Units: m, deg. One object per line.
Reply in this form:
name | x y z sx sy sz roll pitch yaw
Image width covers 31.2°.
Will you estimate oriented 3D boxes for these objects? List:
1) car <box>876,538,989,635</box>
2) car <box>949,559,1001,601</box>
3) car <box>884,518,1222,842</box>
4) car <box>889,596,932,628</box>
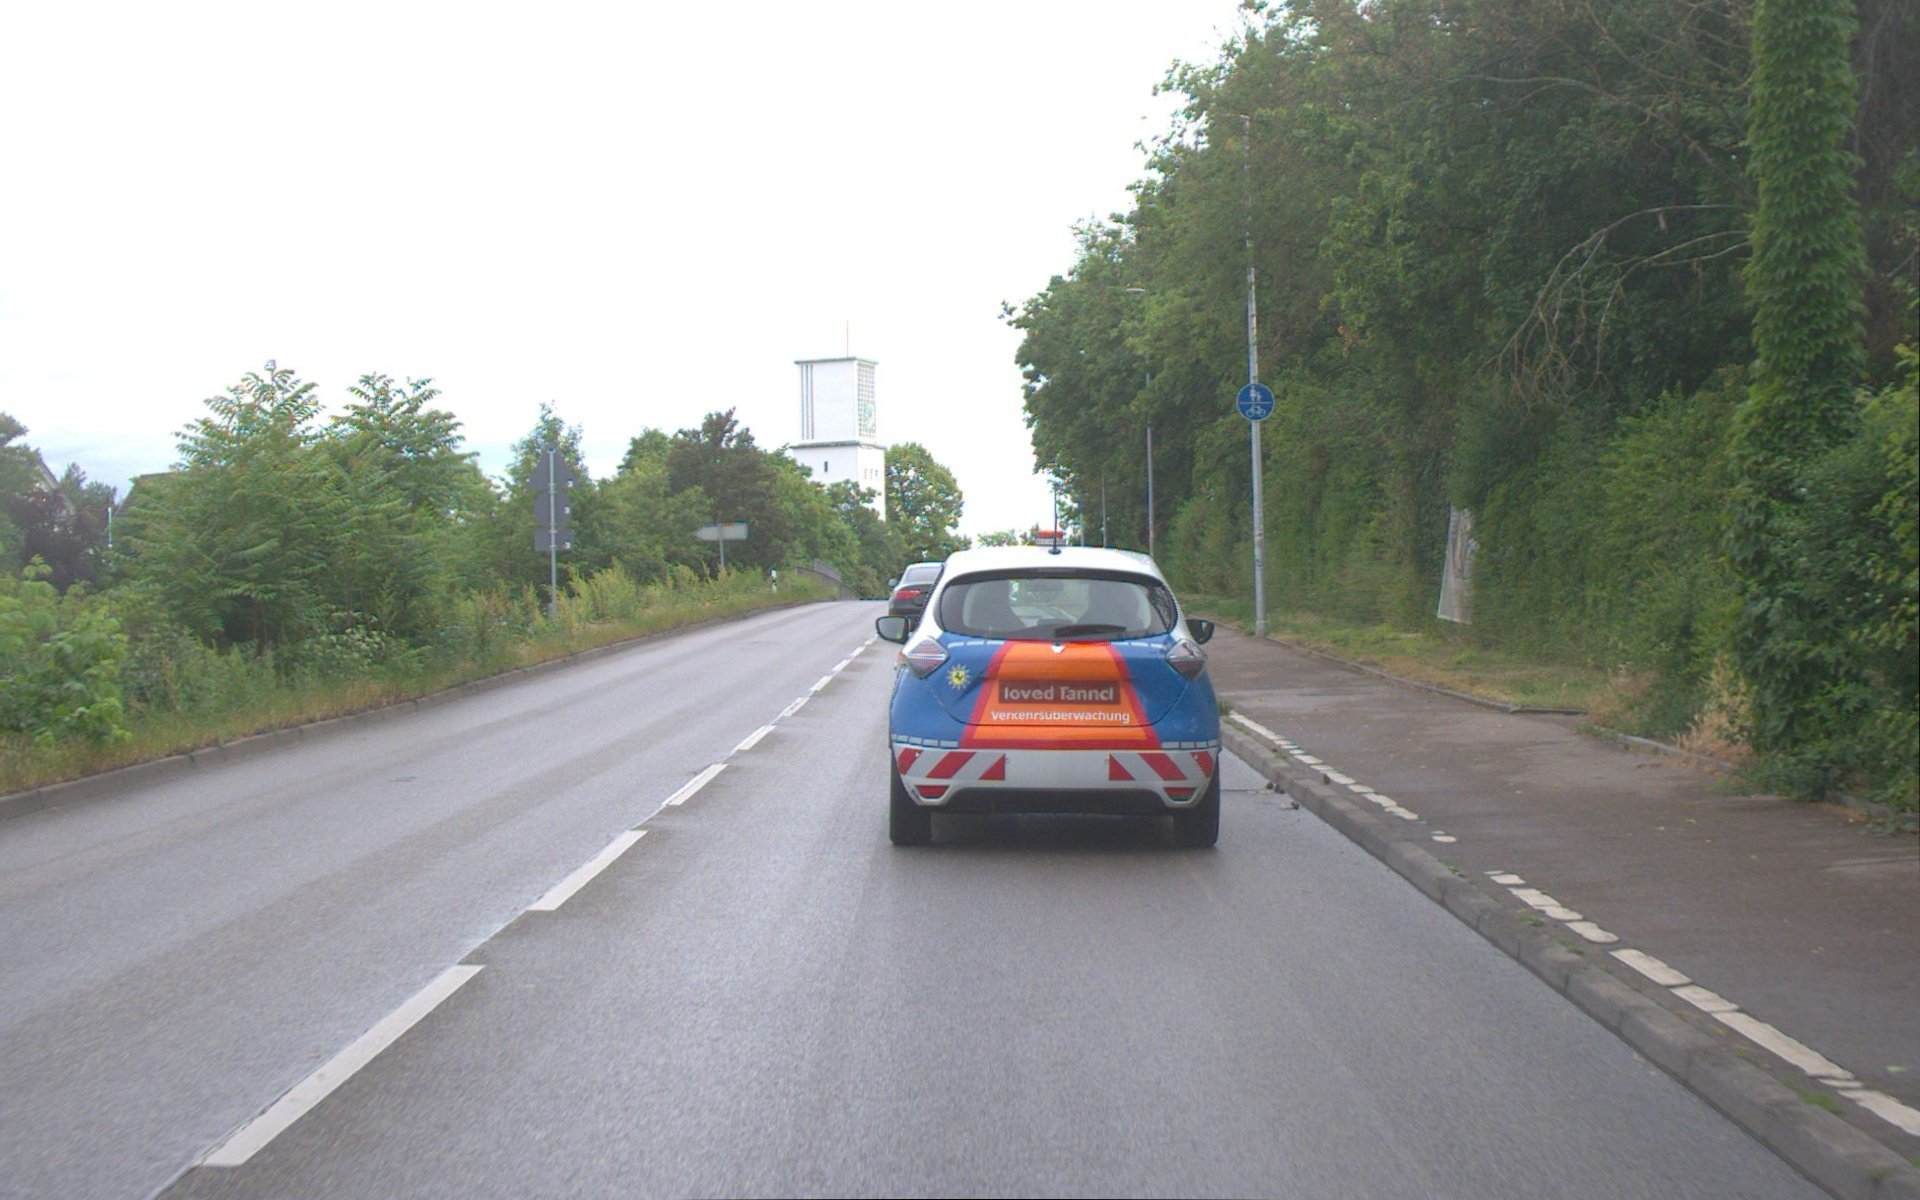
car | -0.513 -0.230 60.496 1.802 1.584 3.563 -2 0 -3
car | 0.517 -0.685 119.483 1.614 1.402 3.497 -2 0 -2
car | 0.466 0.410 18.745 1.657 1.587 3.568 0 -1 0
car | -2.663 0.641 187.098 1.869 1.580 4.414 1 1 5
